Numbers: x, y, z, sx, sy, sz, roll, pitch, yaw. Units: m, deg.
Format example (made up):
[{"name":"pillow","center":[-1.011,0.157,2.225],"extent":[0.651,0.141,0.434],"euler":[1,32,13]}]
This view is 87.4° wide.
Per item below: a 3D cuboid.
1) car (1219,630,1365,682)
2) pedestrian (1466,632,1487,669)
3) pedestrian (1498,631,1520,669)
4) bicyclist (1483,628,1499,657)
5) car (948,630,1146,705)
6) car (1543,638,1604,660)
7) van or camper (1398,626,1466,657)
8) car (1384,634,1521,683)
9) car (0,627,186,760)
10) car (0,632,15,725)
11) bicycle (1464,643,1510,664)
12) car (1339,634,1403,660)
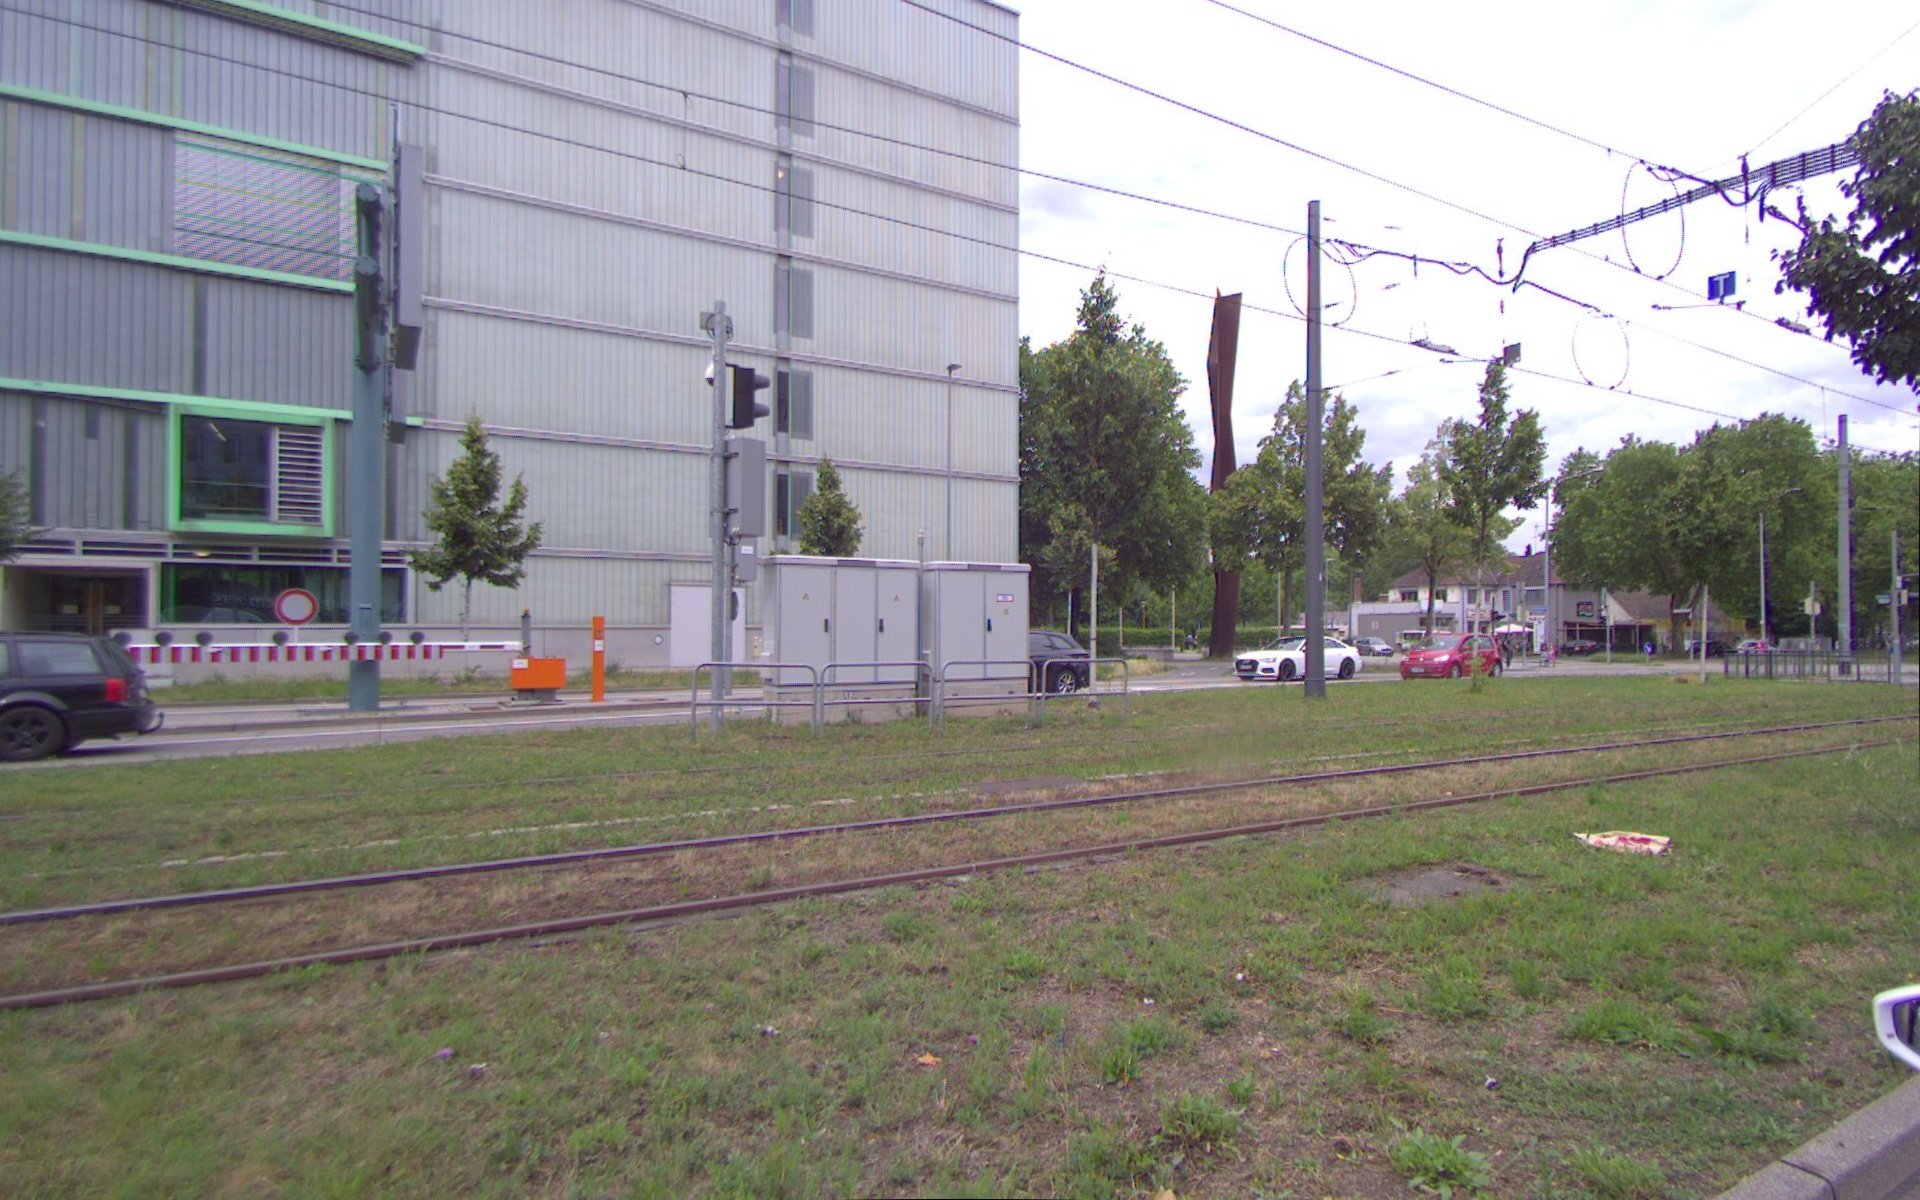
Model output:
[{"name":"car","center":[11.020,1.807,33.215],"extent":[5.019,1.609,1.802],"euler":[1,-2,-31]},{"name":"pedestrian","center":[28.757,2.802,55.901],"extent":[0.887,2.040,0.954],"euler":[0,-1,18]},{"name":"pedestrian","center":[26.941,2.446,49.279],"extent":[0.769,1.856,0.771],"euler":[-1,-1,43]},{"name":"bicyclist","center":[32.821,2.610,62.072],"extent":[0.838,1.744,0.719],"euler":[0,-1,34]},{"name":"car","center":[1.866,1.339,20.950],"extent":[4.022,1.395,1.787],"euler":[1,-2,-38]},{"name":"car","center":[54.953,4.343,90.075],"extent":[2.078,1.840,4.268],"euler":[1,-1,-25]},{"name":"van or camper","center":[32.399,2.800,69.167],"extent":[2.416,2.040,5.283],"euler":[0,-1,2]},{"name":"car","center":[15.201,1.753,30.969],"extent":[4.220,1.395,1.802],"euler":[1,-2,-31]},{"name":"car","center":[-11.647,1.042,11.134],"extent":[4.696,1.445,1.654],"euler":[1,-3,-34]},{"name":"car","center":[-18.163,1.309,15.947],"extent":[4.278,1.591,1.787],"euler":[1,-1,-32]},{"name":"bicycle","center":[32.614,3.304,62.209],"extent":[2.474,1.218,0.738],"euler":[-1,-1,35]},{"name":"car","center":[31.179,3.539,76.329],"extent":[2.078,1.840,4.268],"euler":[1,-2,-25]}]
